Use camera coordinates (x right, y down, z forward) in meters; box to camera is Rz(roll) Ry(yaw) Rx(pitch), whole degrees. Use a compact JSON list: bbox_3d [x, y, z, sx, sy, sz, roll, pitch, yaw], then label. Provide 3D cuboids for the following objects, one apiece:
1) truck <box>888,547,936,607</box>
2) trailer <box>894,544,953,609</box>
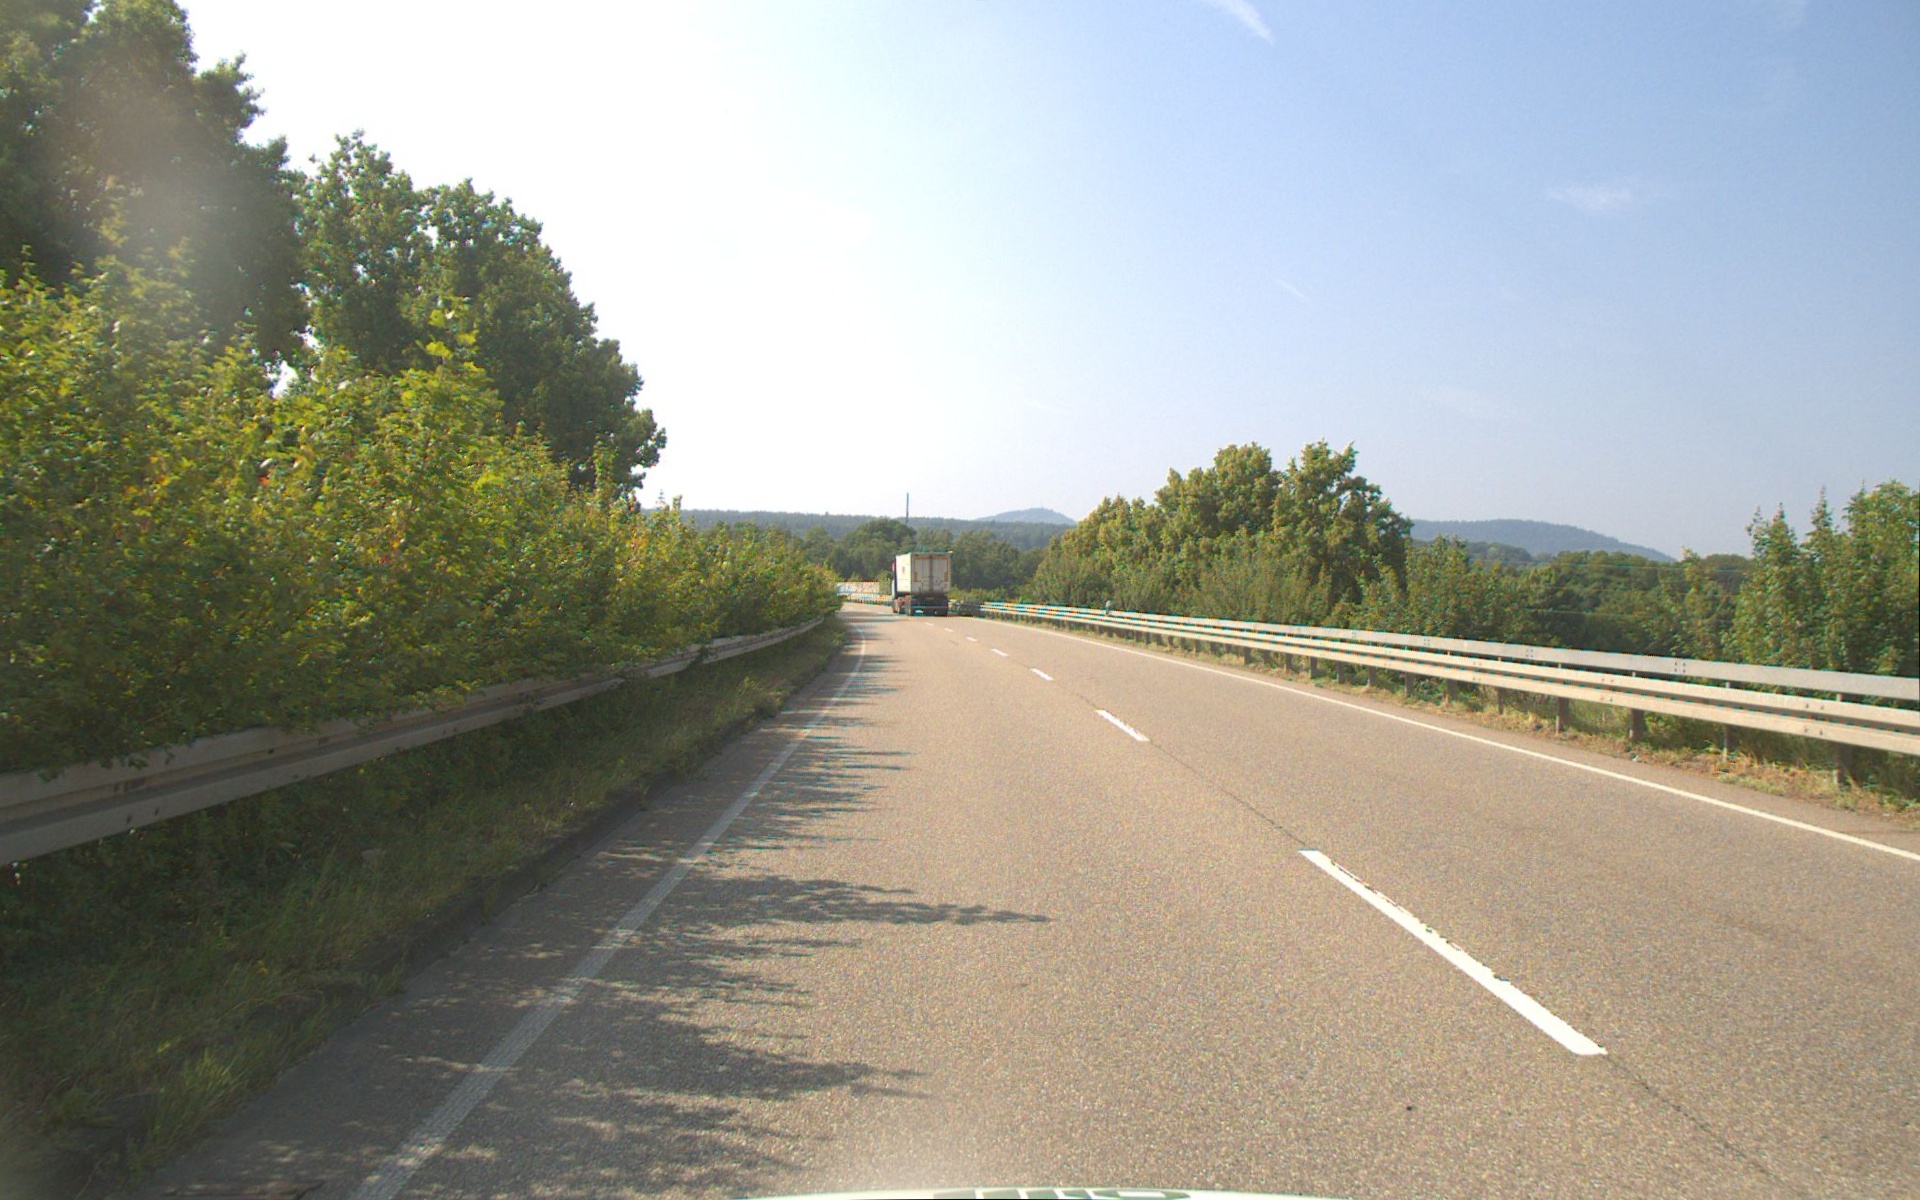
[{"bbox_3d":[-3.306,-1.530,111.695,2.609,3.964,5.637,0,1,-8],"label":"truck"},{"bbox_3d":[-2.424,-1.475,105.652,2.629,3.975,9.655,0,0,-8],"label":"trailer"}]
